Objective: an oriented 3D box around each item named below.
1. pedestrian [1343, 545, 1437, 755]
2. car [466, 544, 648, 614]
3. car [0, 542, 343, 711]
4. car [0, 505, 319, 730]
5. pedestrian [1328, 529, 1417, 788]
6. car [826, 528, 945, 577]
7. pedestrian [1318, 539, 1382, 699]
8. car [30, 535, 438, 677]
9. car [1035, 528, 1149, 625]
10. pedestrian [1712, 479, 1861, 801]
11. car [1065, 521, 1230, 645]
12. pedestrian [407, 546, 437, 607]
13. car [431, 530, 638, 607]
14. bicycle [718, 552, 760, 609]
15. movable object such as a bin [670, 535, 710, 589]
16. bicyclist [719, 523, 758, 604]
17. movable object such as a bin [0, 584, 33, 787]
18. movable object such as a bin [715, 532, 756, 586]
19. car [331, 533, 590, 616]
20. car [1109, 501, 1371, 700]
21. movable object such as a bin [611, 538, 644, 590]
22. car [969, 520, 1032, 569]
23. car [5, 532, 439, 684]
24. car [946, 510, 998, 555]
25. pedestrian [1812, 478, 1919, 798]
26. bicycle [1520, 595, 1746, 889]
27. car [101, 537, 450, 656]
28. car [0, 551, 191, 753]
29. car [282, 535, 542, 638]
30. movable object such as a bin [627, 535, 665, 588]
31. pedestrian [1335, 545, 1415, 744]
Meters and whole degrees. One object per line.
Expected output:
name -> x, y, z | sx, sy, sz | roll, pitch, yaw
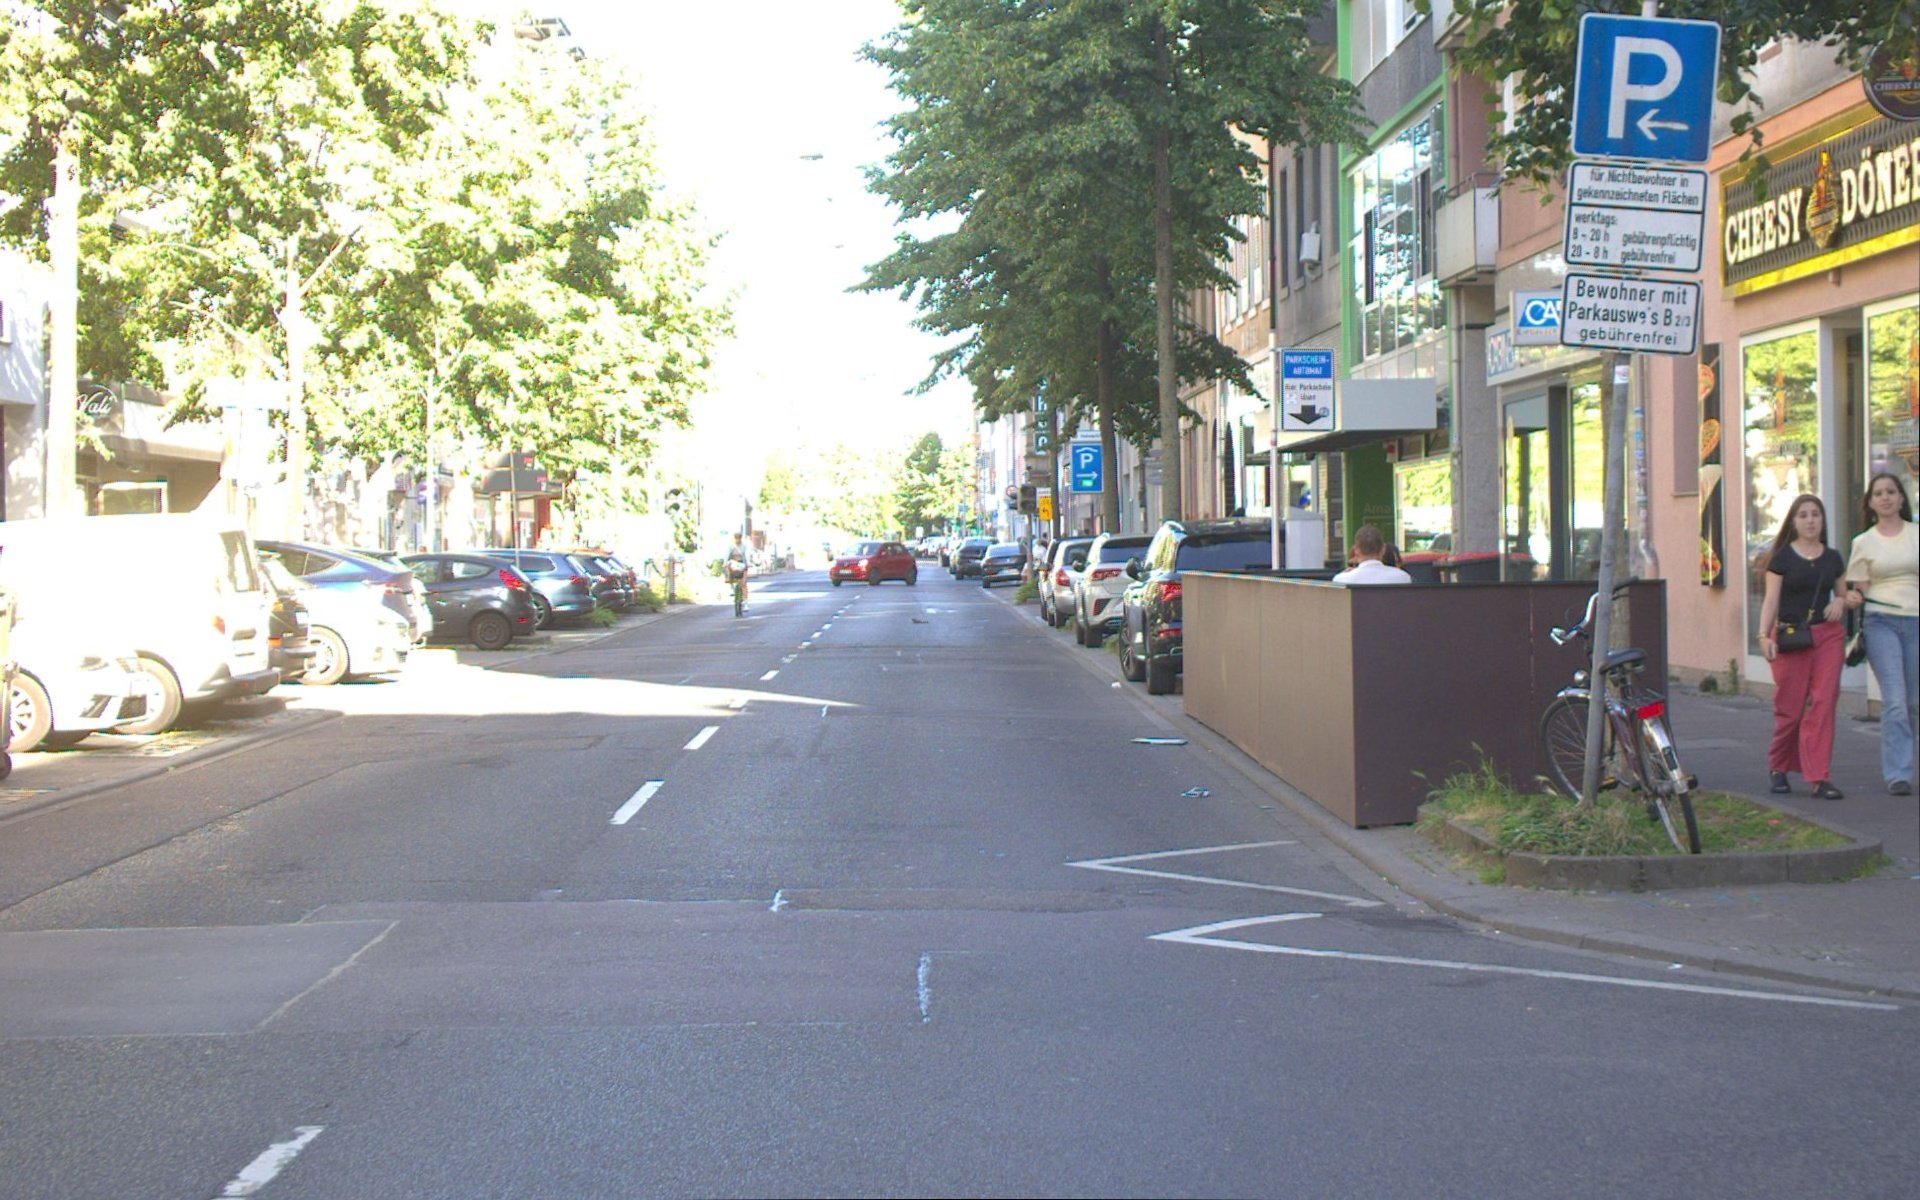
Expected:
pedestrian -> 2.866, 0.325, 22.948 | 0.552, 1.374, 0.594 | 0, 1, 0
car -> -8.689, -0.467, 74.393 | 3.748, 1.463, 1.740 | -1, 1, -1
car -> -8.067, 0.241, 33.396 | 3.799, 1.553, 1.792 | -1, 1, 0
car -> -7.665, 0.117, 29.055 | 4.105, 1.830, 2.039 | 0, 1, 0
pedestrian -> 2.456, 0.341, 20.490 | 0.472, 1.524, 0.462 | 0, 1, 0
car -> -2.581, -1.646, 119.126 | 3.749, 1.530, 1.663 | -4, 2, -35
pedestrian -> 3.272, 0.151, 28.800 | 0.473, 1.326, 0.483 | 0, 1, 13
car -> -8.481, 0.048, 40.449 | 4.366, 1.565, 1.980 | -1, 1, 0
car -> 2.274, -0.441, 60.105 | 1.614, 1.523, 4.235 | -4, 1, -1
pedestrian -> 4.349, 0.199, 18.112 | 0.513, 1.639, 0.748 | -3, 1, -2
car -> 2.552, -0.275, 47.713 | 1.883, 1.521, 4.234 | -3, 1, -1
pedestrian -> -12.600, -0.550, 80.534 | 0.508, 1.403, 0.825 | 0, 2, 4
car -> -8.539, -0.641, 69.205 | 3.919, 1.480, 1.771 | 0, 1, 1
bicycle -> -4.691, -0.429, 73.079 | 0.725, 1.165, 2.197 | -1, 1, 0
movable object such as a bin -> -7.558, -1.067, 96.332 | 1.042, 1.466, 1.143 | -2, 1, -2
bicyclist -> -4.693, -0.781, 72.949 | 0.725, 1.694, 1.282 | -1, 1, 0
movable object such as a bin -> -6.850, 0.565, 22.646 | 1.237, 1.298, 0.870 | -1, 1, -1
movable object such as a bin -> -6.298, -1.162, 96.507 | 1.042, 1.466, 1.453 | -2, 1, -2
car -> -9.069, -0.475, 62.631 | 4.492, 1.453, 1.790 | 0, 1, -2
car -> 2.677, -0.052, 33.878 | 1.993, 1.684, 4.517 | -4, 1, -1
movable object such as a bin -> -8.659, -0.944, 89.532 | 0.754, 1.336, 0.805 | -2, 1, -2
car -> 1.347, -1.885, 115.875 | 1.917, 1.473, 4.965 | -5, 1, 0
car -> -8.109, 0.068, 38.059 | 4.366, 1.565, 1.946 | -1, 1, 0
car -> 0.462, -2.657, 135.252 | 1.973, 1.719, 4.824 | 0, 2, 0
pedestrian -> 4.969, 0.182, 18.192 | 0.641, 1.639, 0.748 | -3, 1, -2
bicycle -> 2.968, 0.588, 15.349 | 0.507, 1.159, 2.145 | -2, 1, -2
car -> -8.924, -0.065, 45.117 | 4.244, 1.453, 1.981 | -1, 1, -4
car -> -8.082, 0.375, 26.284 | 3.979, 1.459, 1.887 | 0, 1, 0
car -> -8.208, -0.216, 51.682 | 3.779, 1.453, 1.781 | -1, 1, -8
movable object such as a bin -> -8.785, -1.084, 96.204 | 0.964, 1.466, 1.143 | -1, 1, -2
pedestrian -> 2.880, 0.302, 23.882 | 0.472, 1.357, 0.594 | 0, 1, 0
